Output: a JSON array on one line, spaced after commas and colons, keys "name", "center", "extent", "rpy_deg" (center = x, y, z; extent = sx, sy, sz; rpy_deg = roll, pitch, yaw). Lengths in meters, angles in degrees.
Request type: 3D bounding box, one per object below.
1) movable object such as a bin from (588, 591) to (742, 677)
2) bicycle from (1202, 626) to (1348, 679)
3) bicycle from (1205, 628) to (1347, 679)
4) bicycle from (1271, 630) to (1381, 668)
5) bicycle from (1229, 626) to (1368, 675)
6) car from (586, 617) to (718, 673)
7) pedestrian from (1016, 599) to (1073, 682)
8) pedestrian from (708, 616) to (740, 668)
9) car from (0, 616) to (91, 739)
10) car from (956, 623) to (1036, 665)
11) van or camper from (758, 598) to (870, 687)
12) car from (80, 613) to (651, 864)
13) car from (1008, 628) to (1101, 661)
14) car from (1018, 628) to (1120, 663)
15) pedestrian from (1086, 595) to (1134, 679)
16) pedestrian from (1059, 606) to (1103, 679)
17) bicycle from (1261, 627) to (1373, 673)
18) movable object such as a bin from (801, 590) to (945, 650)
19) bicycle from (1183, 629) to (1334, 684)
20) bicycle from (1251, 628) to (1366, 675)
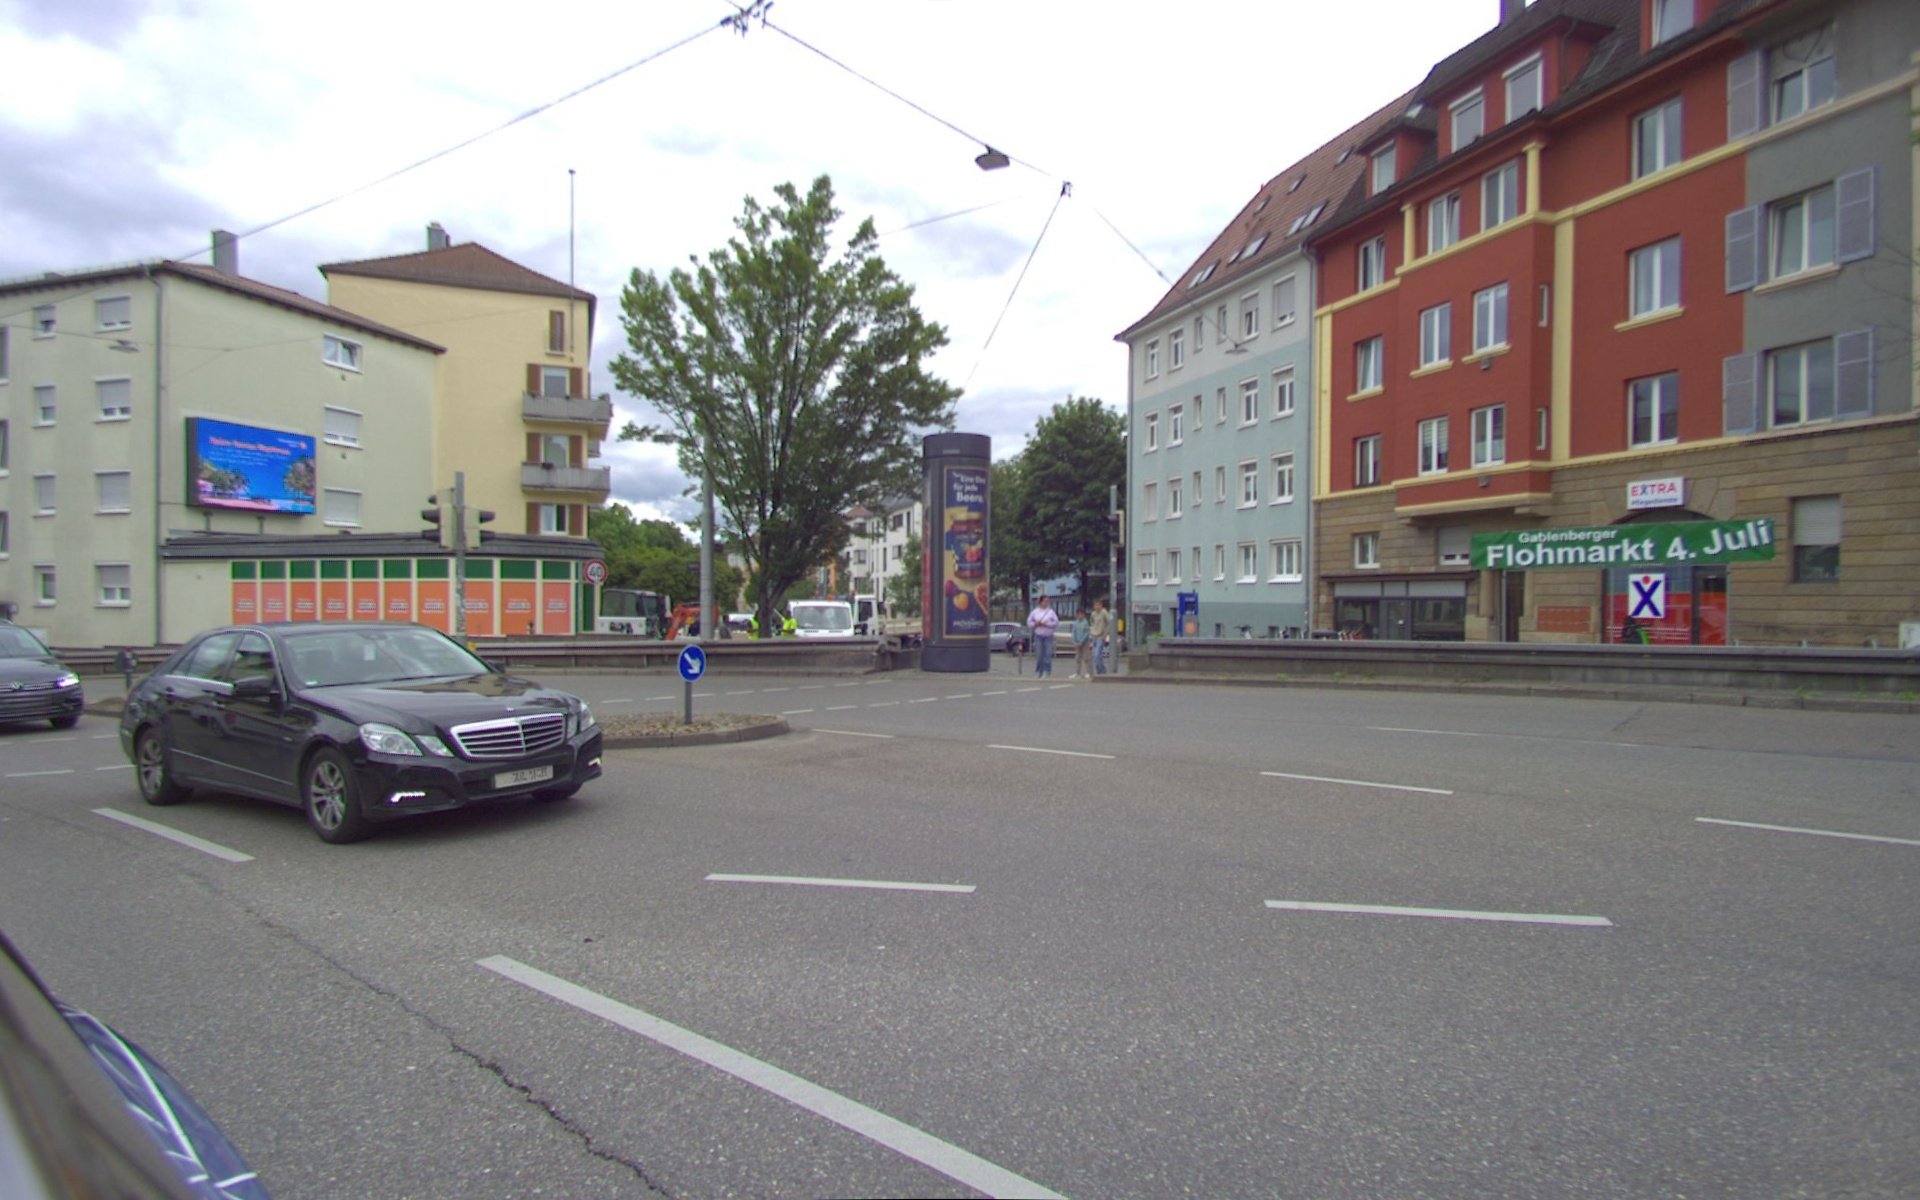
[{"name": "movable object such as a bin", "center": [-7.467, 0.862, 25.720], "extent": [3.495, 2.029, 1.376], "rpy_deg": [-2, -1, 8]}, {"name": "bicycle", "center": [7.733, 1.281, 25.011], "extent": [3.351, 1.211, 0.809], "rpy_deg": [-2, -1, 35]}, {"name": "bicycle", "center": [8.070, 1.358, 25.997], "extent": [3.351, 1.211, 0.895], "rpy_deg": [-2, -1, 35]}, {"name": "bicycle", "center": [10.446, 1.402, 28.971], "extent": [2.828, 1.028, 0.809], "rpy_deg": [-2, -1, 35]}, {"name": "bicycle", "center": [8.896, 1.323, 26.743], "extent": [3.351, 1.211, 0.895], "rpy_deg": [-2, -1, 35]}, {"name": "car", "center": [-9.948, 1.415, 32.680], "extent": [3.931, 1.564, 2.006], "rpy_deg": [-2, 0, -20]}, {"name": "pedestrian", "center": [1.643, 0.769, 19.654], "extent": [0.738, 1.558, 0.784], "rpy_deg": [-3, -1, 42]}, {"name": "pedestrian", "center": [-6.409, 1.146, 27.501], "extent": [0.592, 1.374, 0.627], "rpy_deg": [-1, -1, -39]}, {"name": "car", "center": [-14.735, 1.099, 14.923], "extent": [4.469, 1.623, 1.842], "rpy_deg": [-1, 1, 35]}, {"name": "car", "center": [1.900, 2.259, 52.748], "extent": [3.955, 2.029, 1.994], "rpy_deg": [-2, -1, 9]}, {"name": "van or camper", "center": [-4.611, 1.201, 30.950], "extent": [2.643, 2.356, 6.023], "rpy_deg": [-1, 0, -15]}, {"name": "car", "center": [-4.872, 0.895, 8.056], "extent": [4.827, 1.439, 1.978], "rpy_deg": [-2, -1, 33]}, {"name": "car", "center": [4.436, 2.068, 47.412], "extent": [4.117, 1.380, 1.783], "rpy_deg": [-2, 0, 15]}, {"name": "car", "center": [4.673, 1.939, 43.262], "extent": [4.117, 1.380, 1.783], "rpy_deg": [-2, 0, 15]}, {"name": "pedestrian", "center": [2.755, 0.678, 18.603], "extent": [0.653, 1.498, 0.516], "rpy_deg": [-3, -1, 42]}, {"name": "pedestrian", "center": [2.288, 0.801, 19.148], "extent": [0.584, 1.348, 0.568], "rpy_deg": [-3, -1, 42]}, {"name": "bicycle", "center": [9.957, 1.383, 28.290], "extent": [2.828, 1.211, 0.809], "rpy_deg": [-2, -1, 35]}, {"name": "movable object such as a bin", "center": [-3.161, 0.702, 38.595], "extent": [2.386, 2.087, 6.191], "rpy_deg": [-2, 0, 29]}, {"name": "bicycle", "center": [7.047, 1.314, 24.044], "extent": [3.351, 1.211, 0.809], "rpy_deg": [-2, -1, 35]}, {"name": "bicycle", "center": [9.466, 1.397, 27.570], "extent": [2.828, 1.211, 0.809], "rpy_deg": [-2, -1, 35]}]
